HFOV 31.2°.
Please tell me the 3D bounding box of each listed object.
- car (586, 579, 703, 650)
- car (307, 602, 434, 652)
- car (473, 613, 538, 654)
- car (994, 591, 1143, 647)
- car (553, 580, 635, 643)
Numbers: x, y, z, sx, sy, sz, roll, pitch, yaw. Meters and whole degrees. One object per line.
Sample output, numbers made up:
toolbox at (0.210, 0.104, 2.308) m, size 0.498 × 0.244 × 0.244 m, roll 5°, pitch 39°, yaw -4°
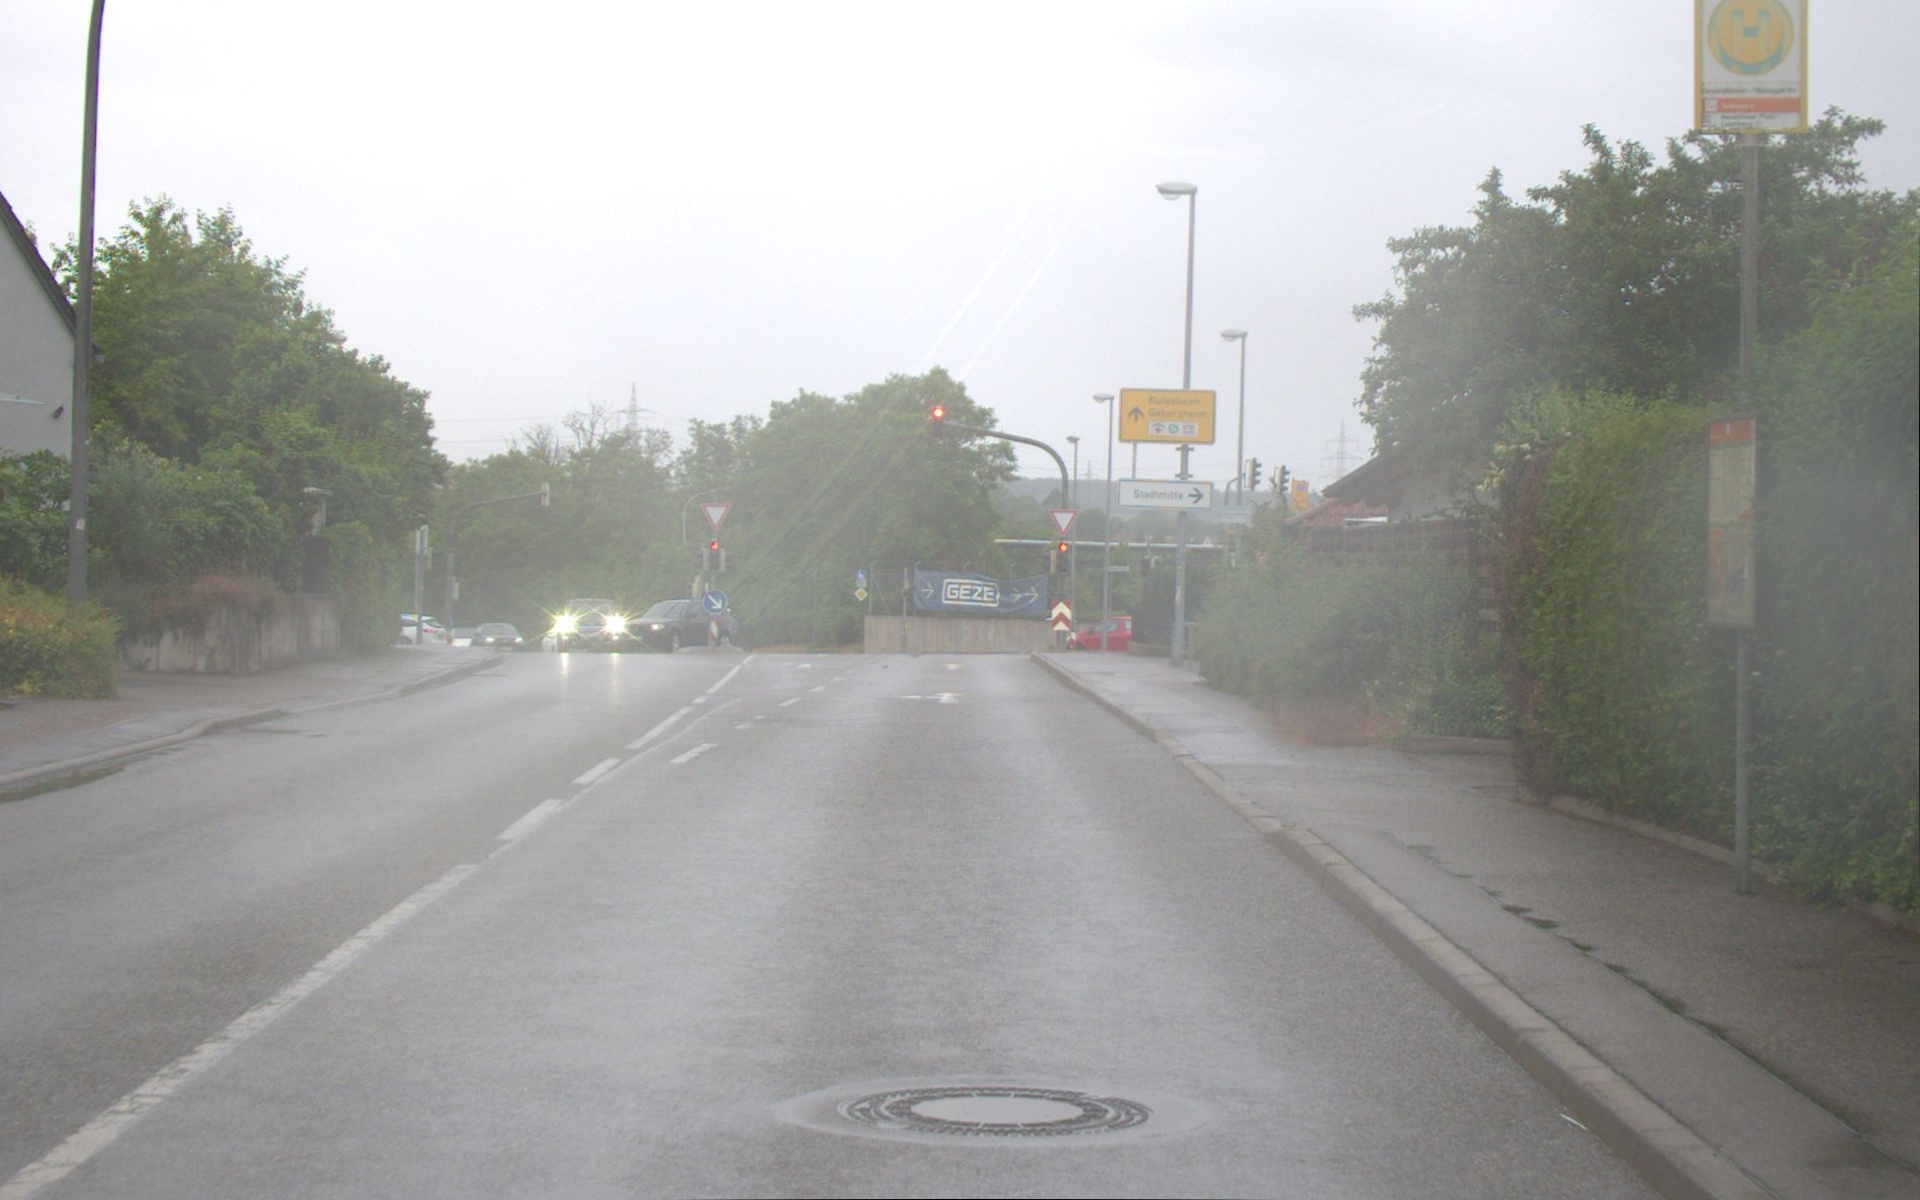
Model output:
car at (-9.277, 0.419, 101.357) m, size 1.774 × 2.007 × 3.995 m, roll 2°, pitch 1°, yaw 22°
car at (-20.922, 0.941, 122.136) m, size 3.990 × 1.612 × 1.942 m, roll 1°, pitch 3°, yaw 17°
car at (-17.938, 1.319, 135.650) m, size 1.993 × 1.459 × 4.001 m, roll -1°, pitch 1°, yaw -16°
car at (3.741, 0.638, 118.325) m, size 4.744 × 1.684 × 2.304 m, roll -2°, pitch 0°, yaw 12°
car at (-9.399, 0.278, 88.481) m, size 1.805 × 1.518 × 4.000 m, roll 1°, pitch 1°, yaw -2°
